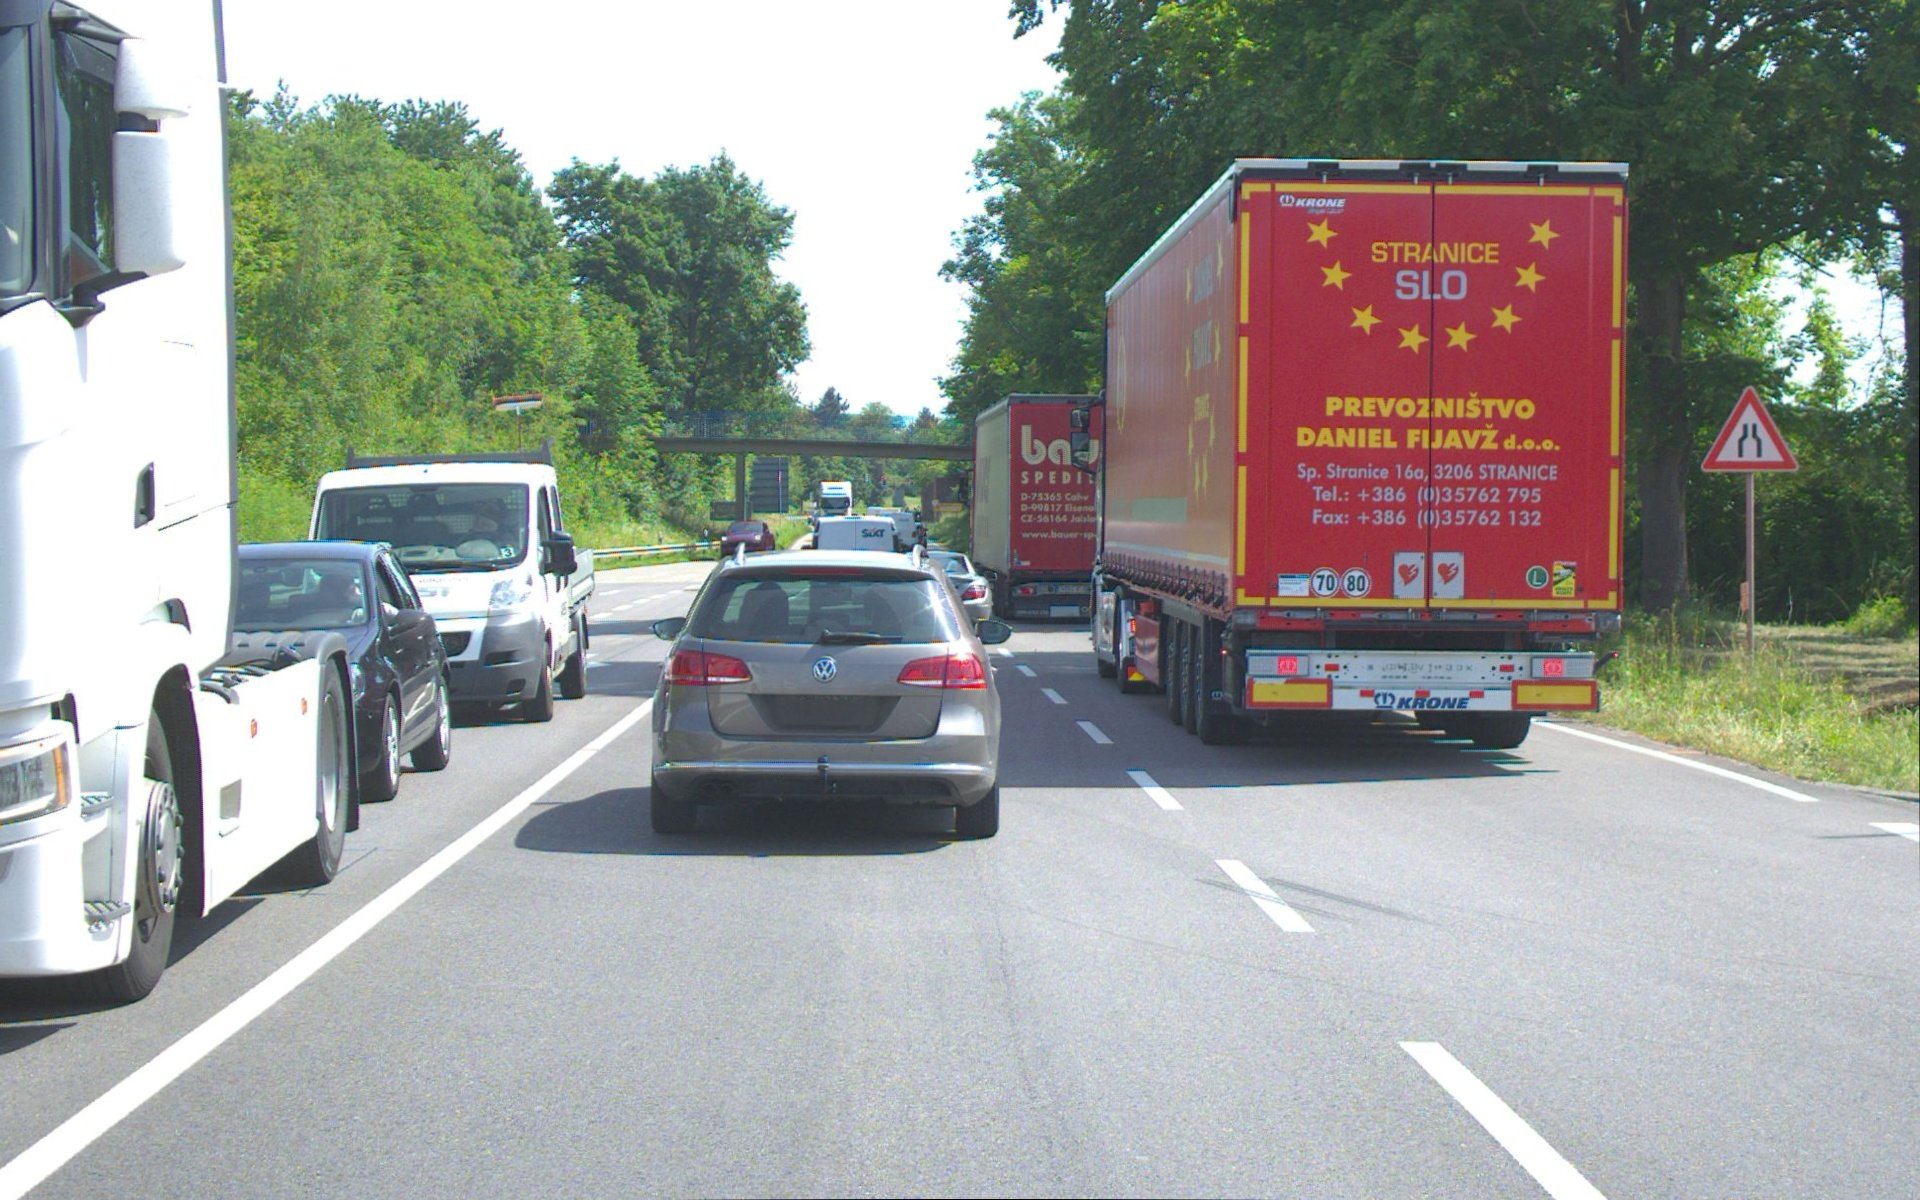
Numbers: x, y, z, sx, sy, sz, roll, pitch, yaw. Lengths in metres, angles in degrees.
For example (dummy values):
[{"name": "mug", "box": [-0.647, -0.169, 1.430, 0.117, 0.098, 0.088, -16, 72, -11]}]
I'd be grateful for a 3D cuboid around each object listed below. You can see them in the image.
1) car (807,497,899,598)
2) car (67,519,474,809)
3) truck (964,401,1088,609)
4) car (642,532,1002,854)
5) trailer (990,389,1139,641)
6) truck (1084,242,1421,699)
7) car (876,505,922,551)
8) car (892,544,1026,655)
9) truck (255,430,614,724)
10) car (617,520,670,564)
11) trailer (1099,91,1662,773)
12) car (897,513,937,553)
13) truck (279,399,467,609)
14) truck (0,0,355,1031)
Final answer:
[{"name": "car", "box": [-2.157, -1.056, 69.225, 1.770, 1.930, 3.978, -1, 1, -2]}, {"name": "car", "box": [-4.054, 0.320, 20.837, 1.710, 1.546, 4.109, -1, 1, -1]}, {"name": "truck", "box": [1.340, -1.934, 71.484, 2.406, 4.113, 5.521, -1, 1, 0]}, {"name": "car", "box": [-0.728, 0.415, 18.467, 1.691, 1.508, 4.000, -1, 1, -2]}, {"name": "trailer", "box": [1.833, -1.541, 65.012, 2.395, 4.229, 13.078, -1, 1, 0]}, {"name": "truck", "box": [2.863, -1.264, 35.335, 2.870, 4.266, 5.839, 1, 1, 0]}, {"name": "car", "box": [-2.796, -3.262, 155.683, 1.993, 2.007, 4.000, -1, 1, -2]}, {"name": "car", "box": [-0.054, -0.039, 49.841, 1.770, 1.508, 4.000, -1, 1, -2]}, {"name": "truck", "box": [-4.441, -0.229, 30.178, 2.227, 2.260, 6.500, -1, 1, -1]}, {"name": "car", "box": [-13.344, -2.432, 145.328, 1.973, 1.790, 4.809, -1, 1, -3]}, {"name": "trailer", "box": [2.978, -1.177, 28.740, 2.839, 4.350, 13.168, 1, 1, -1]}, {"name": "car", "box": [-2.277, -3.516, 180.782, 1.993, 2.007, 4.000, -1, 1, -2]}, {"name": "truck", "box": [-10.438, -1.675, 61.662, 2.343, 3.508, 6.697, -1, 1, -2]}, {"name": "truck", "box": [-3.952, -0.859, 12.621, 2.536, 4.074, 6.266, -1, 1, -3]}]
